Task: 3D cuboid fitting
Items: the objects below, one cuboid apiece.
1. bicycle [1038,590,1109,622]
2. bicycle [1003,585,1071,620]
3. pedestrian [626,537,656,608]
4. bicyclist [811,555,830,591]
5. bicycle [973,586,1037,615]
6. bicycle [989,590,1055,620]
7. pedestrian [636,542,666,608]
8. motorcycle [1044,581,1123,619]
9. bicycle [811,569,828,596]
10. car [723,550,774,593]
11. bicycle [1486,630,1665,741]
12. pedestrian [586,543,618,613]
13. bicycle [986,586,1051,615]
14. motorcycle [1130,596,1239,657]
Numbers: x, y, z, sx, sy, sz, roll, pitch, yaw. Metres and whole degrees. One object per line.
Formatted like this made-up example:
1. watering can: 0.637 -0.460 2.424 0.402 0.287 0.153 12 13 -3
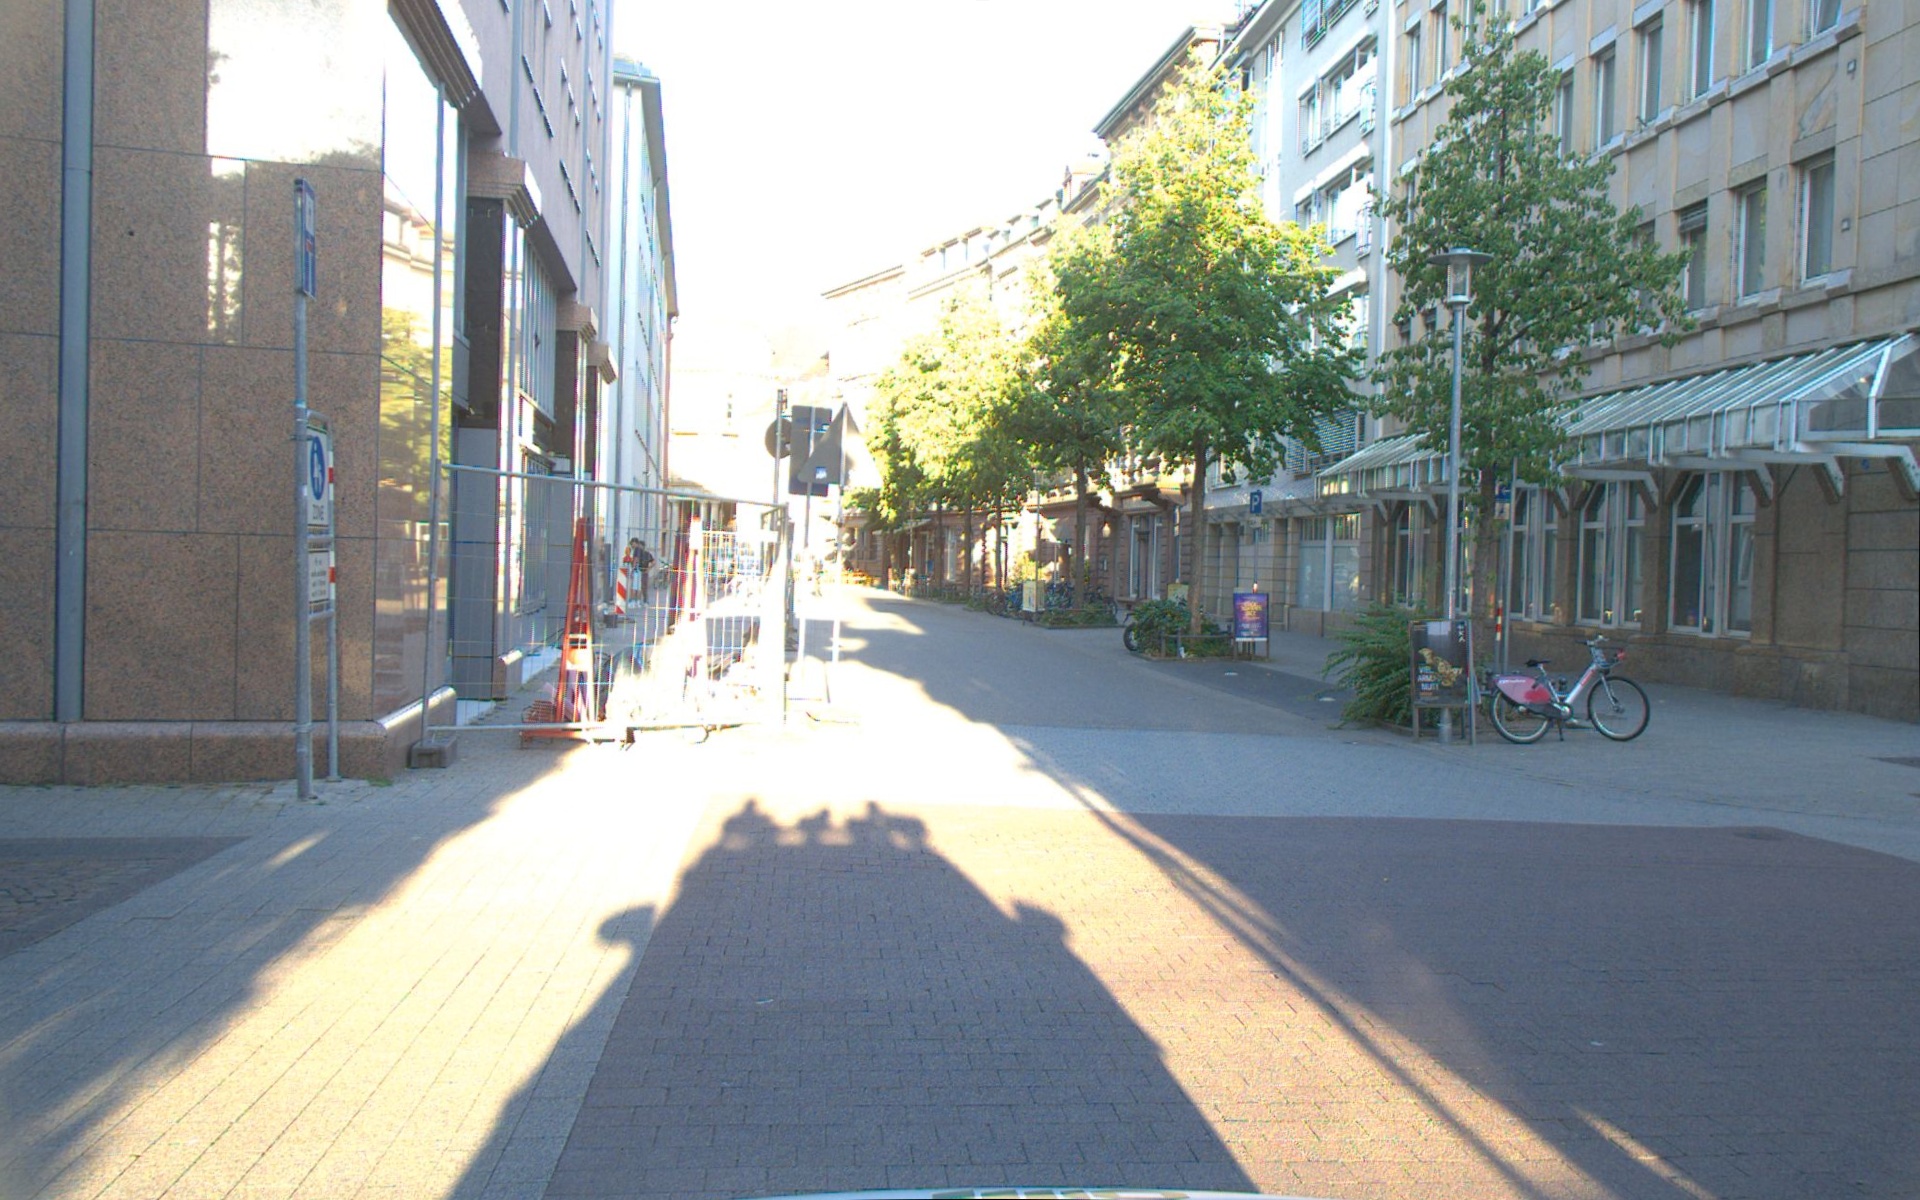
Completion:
1. bicycle: 3.491 0.175 50.779 2.122 0.942 0.587 1 0 -22
2. bicycle: 2.449 0.071 52.582 2.107 1.079 0.591 1 0 8
3. pedestrian: -8.174 -0.714 42.381 0.641 1.794 0.634 1 1 -2
4. bicyclist: -5.820 -1.120 68.913 0.708 1.494 0.716 1 1 -8
5. bicycle: 1.535 0.011 56.915 2.116 0.942 0.588 1 0 -14
6. bicycle: 2.044 0.166 54.785 2.116 0.942 0.588 1 0 -14
7. pedestrian: -8.032 -0.656 42.967 0.641 1.680 0.634 1 1 -2
8. motorcycle: 3.726 0.004 49.719 2.444 1.114 0.585 1 0 -29
9. bicycle: -5.871 -0.735 69.021 0.577 1.114 2.157 1 0 -7
10. car: -8.700 -1.183 67.911 1.809 1.713 3.635 1 1 -11
11. bicycle: 6.297 0.876 16.992 1.620 1.069 0.663 -1 2 12
12. pedestrian: -9.130 -0.571 42.197 0.641 1.755 0.634 1 1 -2
13. bicycle: 1.987 0.017 56.103 2.116 0.942 0.588 1 0 -14
14. motorcycle: 4.509 0.532 33.225 2.113 1.171 0.493 1 0 -9
